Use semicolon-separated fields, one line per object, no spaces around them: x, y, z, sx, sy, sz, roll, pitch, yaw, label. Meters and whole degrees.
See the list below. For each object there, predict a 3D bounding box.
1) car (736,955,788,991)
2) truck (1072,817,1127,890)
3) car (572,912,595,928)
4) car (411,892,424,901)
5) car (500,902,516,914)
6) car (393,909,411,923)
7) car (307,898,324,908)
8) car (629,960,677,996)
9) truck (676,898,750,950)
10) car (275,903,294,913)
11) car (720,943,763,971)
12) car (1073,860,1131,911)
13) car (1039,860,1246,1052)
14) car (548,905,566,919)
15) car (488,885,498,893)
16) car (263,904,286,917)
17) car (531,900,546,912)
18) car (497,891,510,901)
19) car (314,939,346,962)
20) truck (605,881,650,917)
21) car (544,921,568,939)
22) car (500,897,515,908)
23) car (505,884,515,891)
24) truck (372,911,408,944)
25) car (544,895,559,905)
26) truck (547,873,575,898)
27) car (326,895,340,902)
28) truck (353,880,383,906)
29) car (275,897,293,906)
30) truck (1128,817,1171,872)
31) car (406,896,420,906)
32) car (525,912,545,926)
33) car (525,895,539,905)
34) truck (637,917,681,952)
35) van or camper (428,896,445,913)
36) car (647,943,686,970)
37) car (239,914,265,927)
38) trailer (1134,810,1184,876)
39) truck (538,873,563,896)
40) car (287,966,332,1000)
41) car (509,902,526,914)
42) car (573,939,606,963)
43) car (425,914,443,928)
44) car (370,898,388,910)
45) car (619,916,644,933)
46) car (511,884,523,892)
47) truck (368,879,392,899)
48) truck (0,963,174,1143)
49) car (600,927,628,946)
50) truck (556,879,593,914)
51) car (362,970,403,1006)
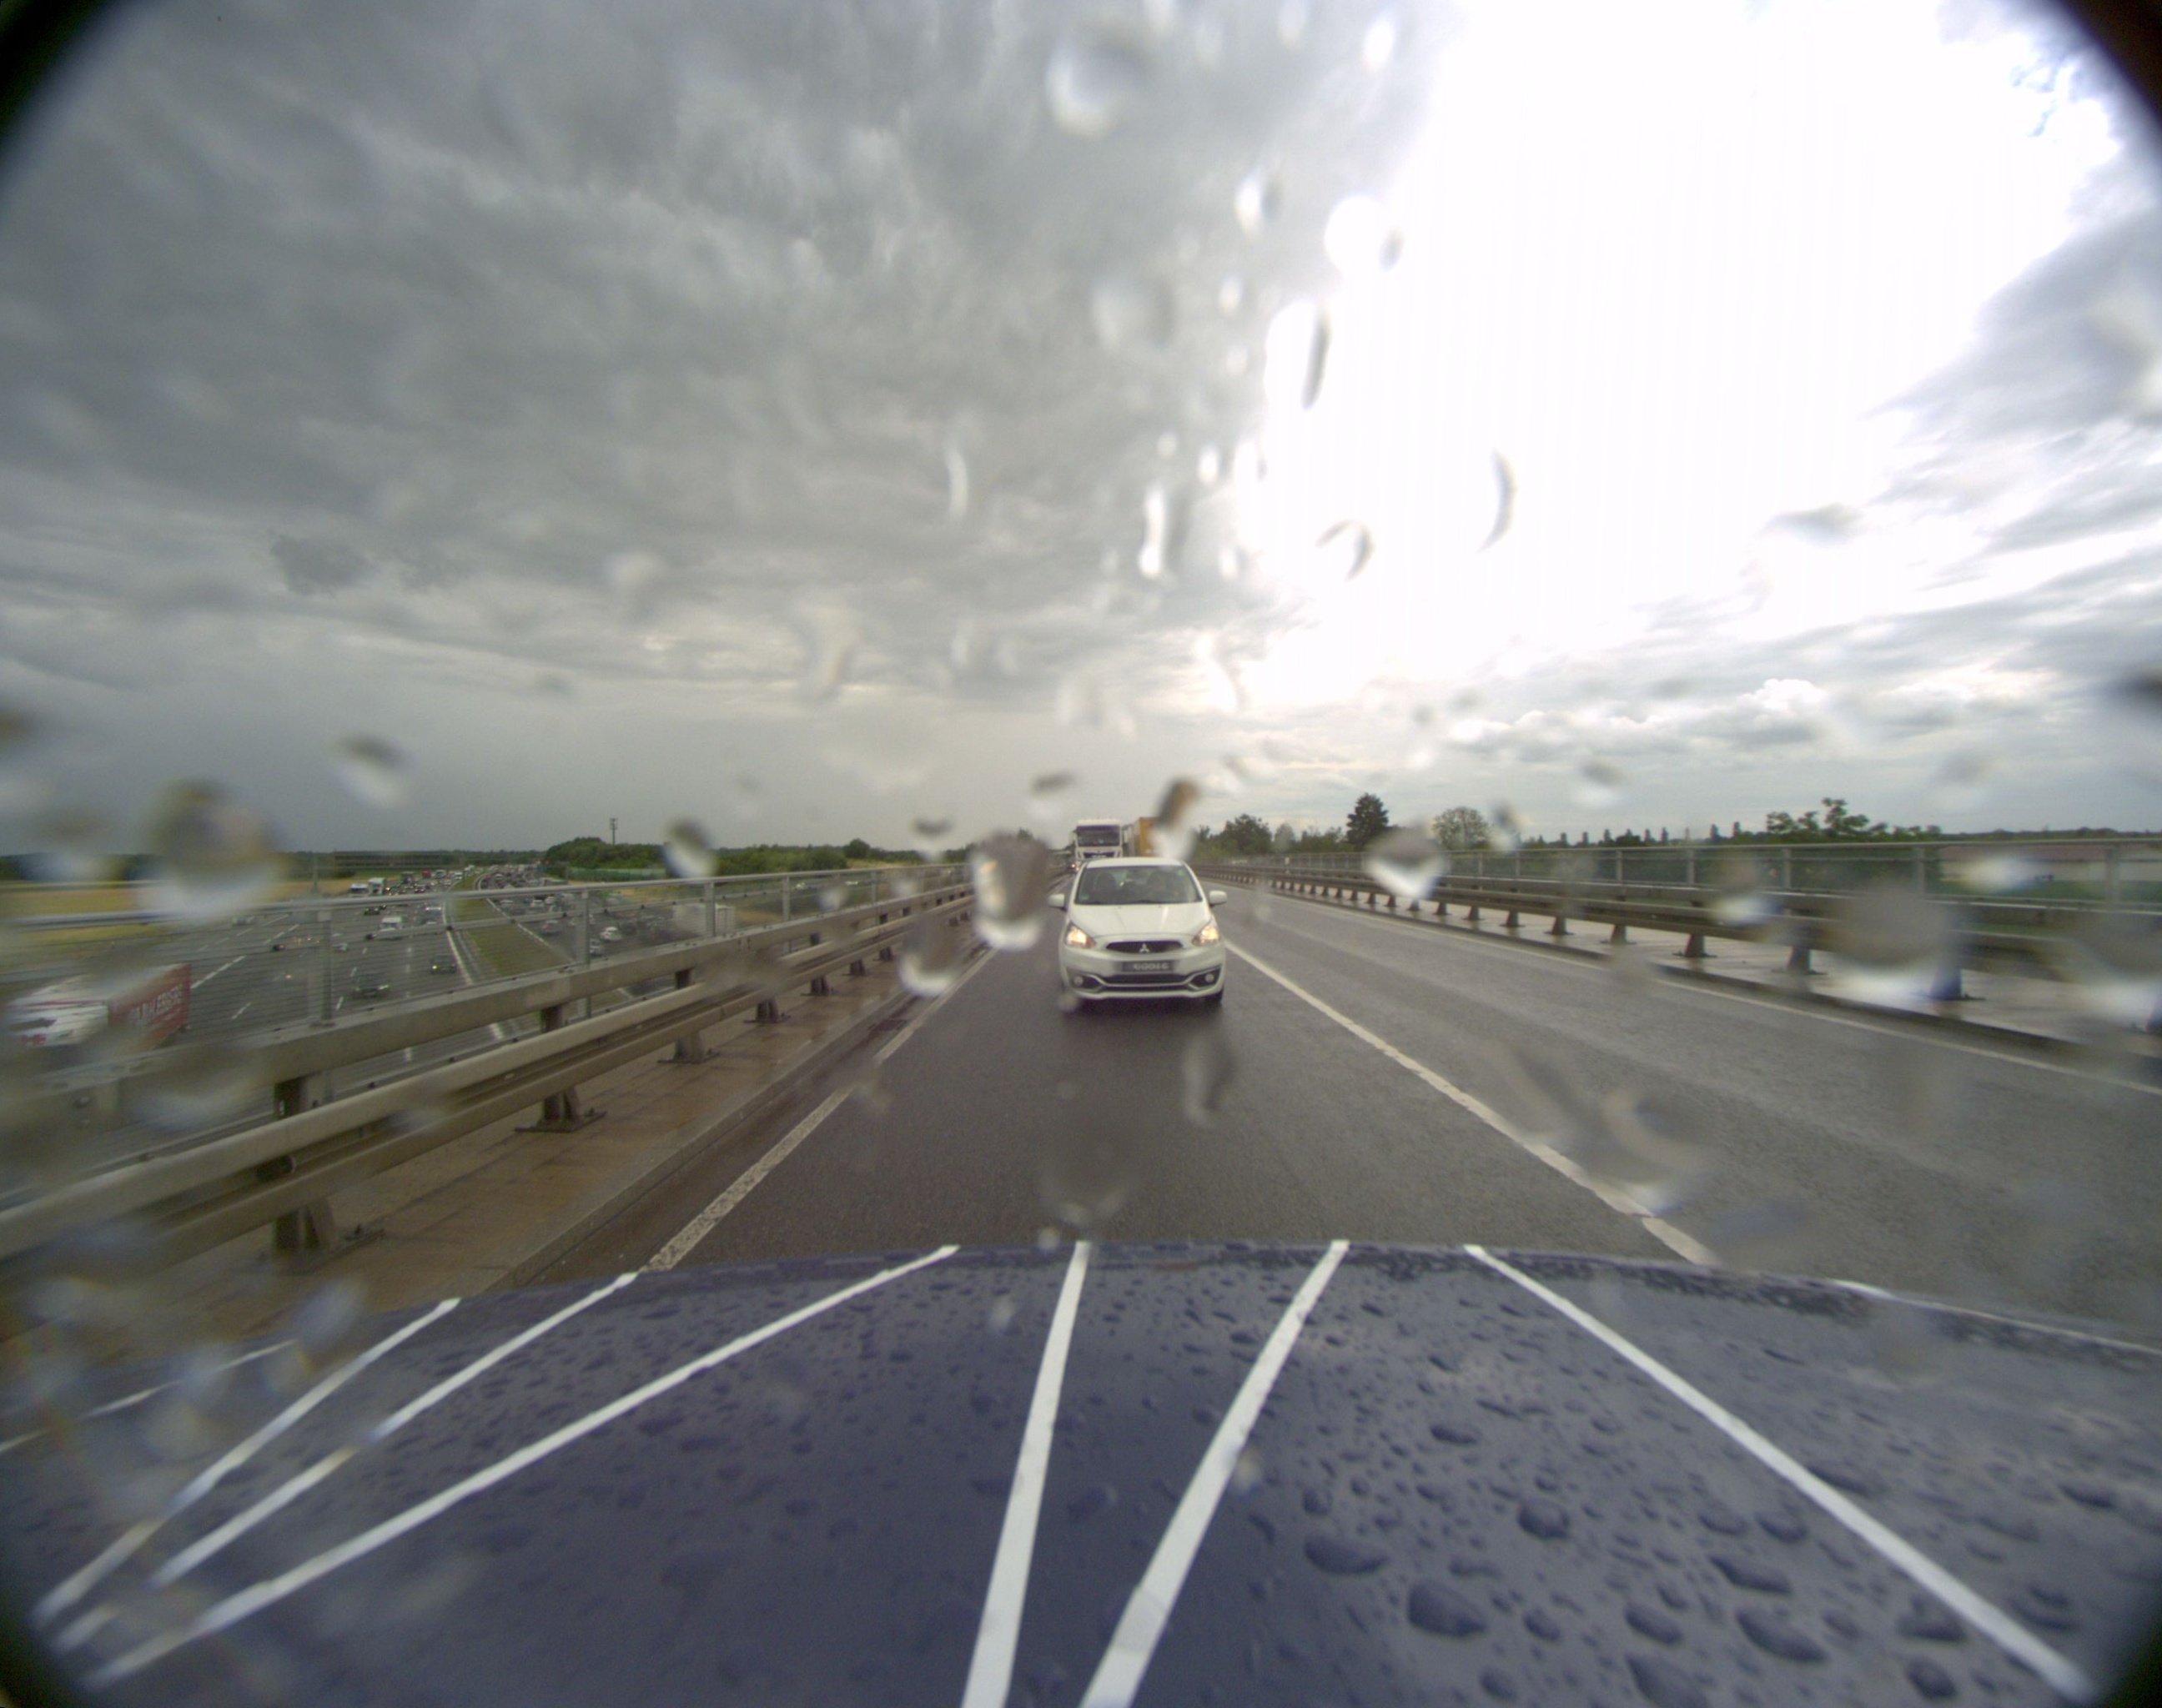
-21.274;7.882;50.584;1.860;1.659;4.712;-3;1;-40;car
0.922;-0.203;42.380;2.631;3.537;8.474;-2;3;0;truck
-64.913;8.553;99.153;1.860;1.659;4.712;-3;1;-40;car
-143.807;9.183;164.730;1.860;1.659;4.712;-3;1;-40;car
-97.127;9.129;128.862;1.860;1.764;4.712;-3;1;-40;car
-99.990;9.118;111.958;1.818;1.659;4.712;-3;1;-40;car
-147.028;9.460;145.917;1.860;1.659;4.712;-3;1;-40;car
-28.412;8.160;50.389;1.860;1.659;4.712;-3;1;-40;car
-40.406;7.414;82.927;3.610;4.511;15.588;-3;1;-39;truck
-138.082;9.331;131.799;1.818;1.428;4.711;-3;1;-41;car
-27.444;8.258;61.293;1.860;1.659;4.712;-3;1;-40;car
0.641;0.936;24.378;1.675;1.366;4.129;-2;1;1;car
0.541;0.873;8.407;1.675;1.476;4.129;-2;1;1;car
-79.979;8.871;115.938;1.860;1.764;4.712;-3;1;-40;car
-150.052;8.966;193.858;1.860;1.764;4.712;-3;1;-40;car
-123.638;8.584;116.533;1.860;1.659;4.712;-3;1;-40;car
-97.658;9.308;136.739;1.860;1.764;4.712;-3;1;-40;car
-118.938;8.651;156.354;1.860;1.764;4.712;-3;1;-40;car
-73.884;9.451;74.844;1.818;1.659;4.712;-3;1;-40;car
-72.135;6.990;120.586;3.302;5.135;15.588;-3;1;-40;truck
-60.904;8.826;88.095;1.860;1.659;4.712;-3;1;-40;car
-109.609;9.285;145.184;1.860;1.764;4.712;-3;1;-40;car
-154.243;9.083;205.318;1.860;1.764;4.712;-3;1;-40;car
-80.322;8.478;88.444;2.601;3.161;8.373;-3;1;-40;truck
-104.587;9.013;150.069;1.860;1.764;4.712;-3;1;-40;car
-119.026;7.153;173.689;3.499;5.321;15.588;-3;1;-40;truck
-158.077;9.398;160.542;1.818;1.428;4.711;-3;1;-41;car
-146.861;7.921;156.580;2.799;4.871;12.724;-3;1;-36;truck
-147.856;8.836;140.917;1.818;1.428;4.711;-3;1;-41;car
5.364;-0.752;61.416;2.689;3.993;10.055;-2;0;1;truck
-130.156;9.190;148.130;1.860;1.659;4.712;-3;1;-40;car
-76.022;9.001;105.687;1.860;1.659;4.712;-3;1;-40;car
-109.759;9.173;152.003;1.860;1.764;4.712;-3;1;-40;car
-44.618;8.396;80.140;2.216;2.948;9.283;-3;1;-40;truck
-107.671;8.400;126.956;2.063;2.436;7.311;-3;1;-40;van or camper
-34.476;8.456;63.154;1.860;1.659;4.712;-3;1;-40;car
-114.034;9.127;104.508;1.818;1.428;4.711;-3;1;-41;car
5.205;-0.714;52.191;2.689;4.051;8.485;-2;0;1;trailer
-135.464;7.663;193.895;3.499;5.321;15.588;-3;1;-40;truck
-55.938;9.334;55.180;1.818;1.659;4.712;-3;1;-40;car
-89.781;8.610;121.021;1.860;1.659;4.712;-3;1;-40;car
-44.632;8.762;68.967;1.860;1.659;4.712;-3;1;-40;car
-93.565;9.714;109.888;1.860;1.659;4.712;-3;1;-40;car
-115.006;8.183;124.570;1.860;1.659;4.712;-3;1;-40;car
-54.842;8.558;92.638;1.860;1.659;4.712;-3;1;-40;car
-134.670;8.115;181.451;1.860;1.764;4.712;-3;1;-40;car
-174.120;8.522;188.730;2.799;4.591;12.724;-3;1;-36;truck
-36.993;6.913;28.070;2.691;4.599;9.727;-3;1;-41;truck
-50.879;8.943;82.691;1.860;1.659;4.712;-3;1;-40;car
-87.479;7.209;131.080;3.302;5.411;15.588;-3;1;-40;truck
-47.776;9.110;52.025;1.818;1.659;4.712;-3;1;-40;car
